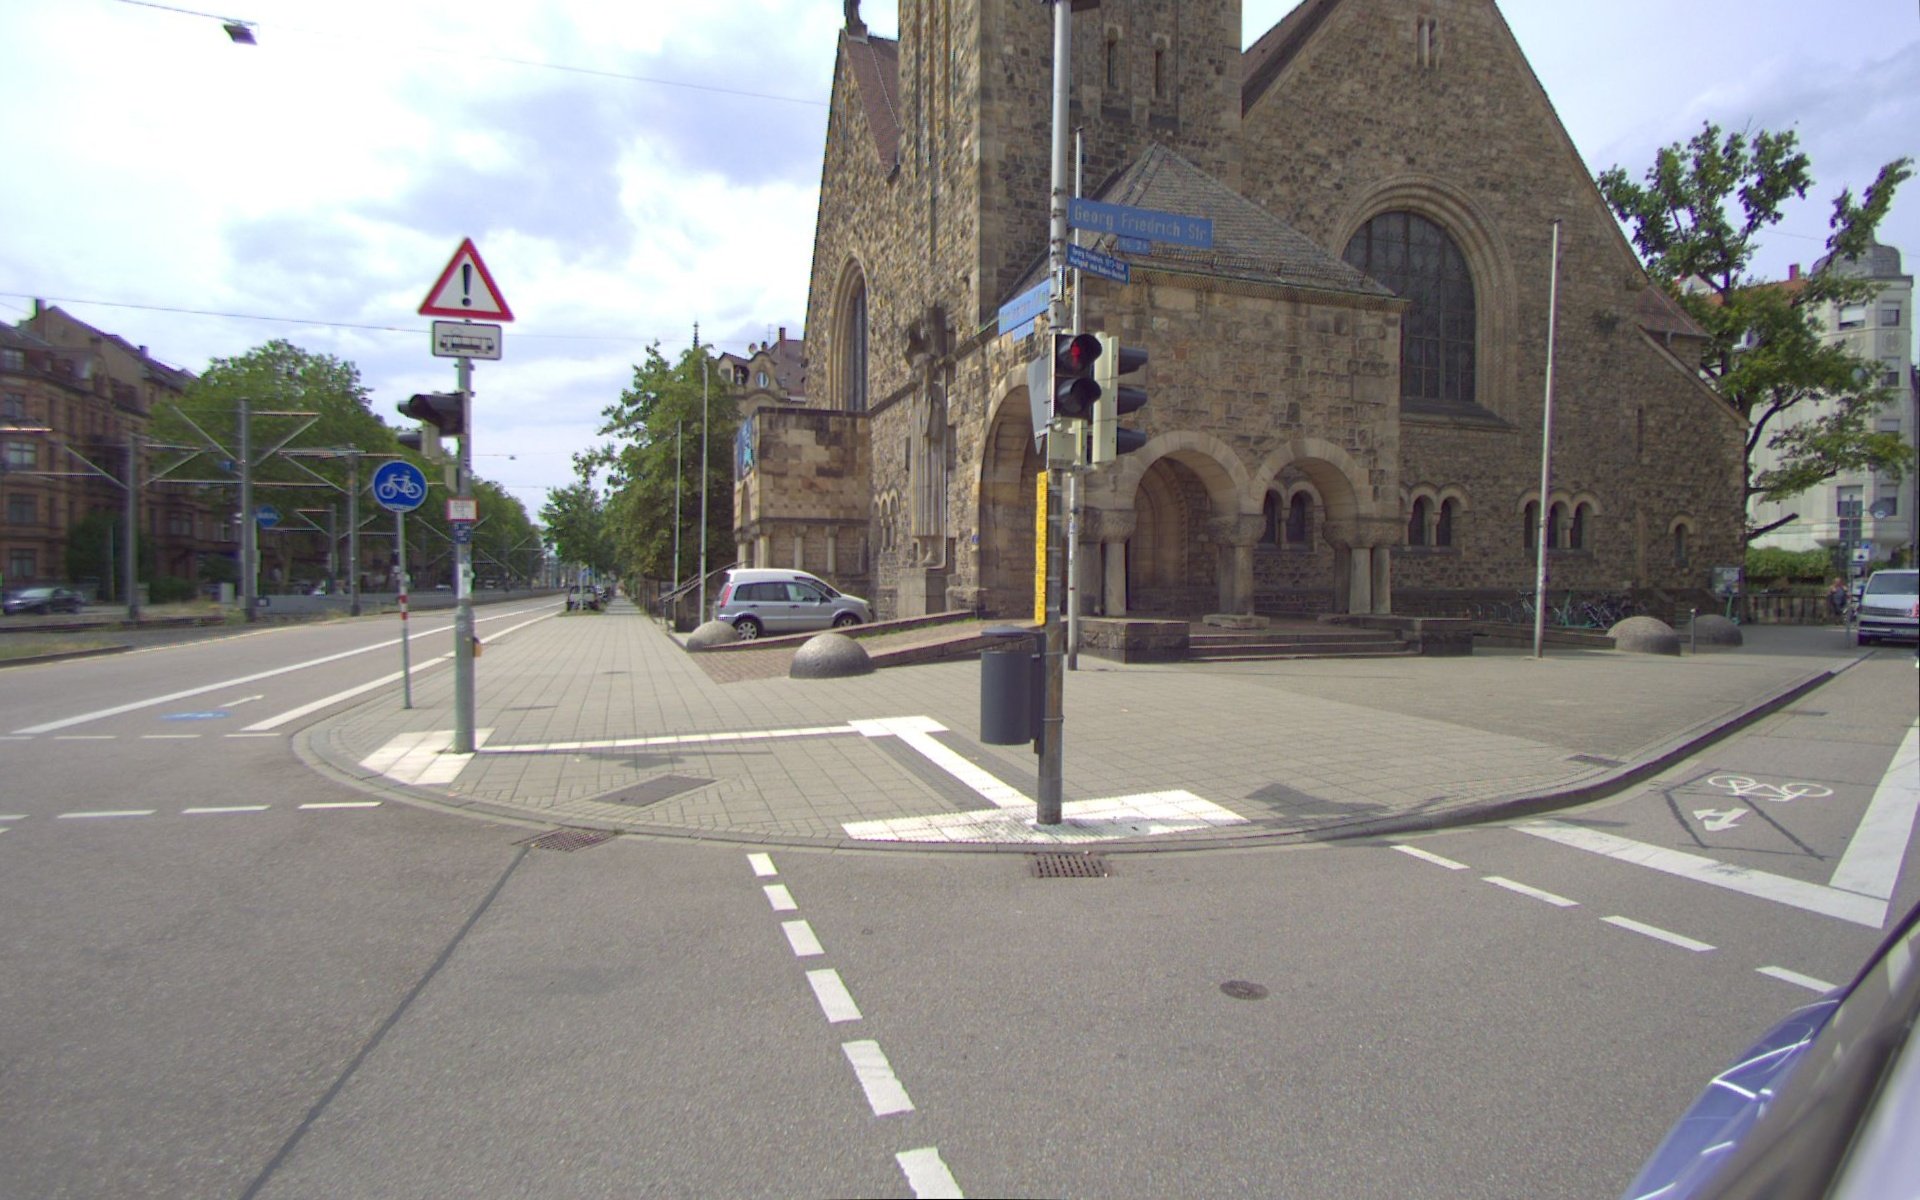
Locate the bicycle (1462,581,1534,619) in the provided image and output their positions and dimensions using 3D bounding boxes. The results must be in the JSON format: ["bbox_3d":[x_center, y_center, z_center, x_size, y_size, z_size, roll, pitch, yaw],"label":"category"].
[{"bbox_3d":[14.956,-0.012,28.162,0.534,0.969,1.786,0,3,-24],"label":"bicycle"}]

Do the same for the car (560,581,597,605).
[{"bbox_3d":[-24.178,-0.449,64.312,1.911,1.417,4.009,-2,1,-17],"label":"car"}]

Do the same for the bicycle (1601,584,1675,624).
[{"bbox_3d":[19.955,0.102,29.837,0.534,1.126,1.786,0,1,-24],"label":"bicycle"}]

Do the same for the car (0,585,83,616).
[{"bbox_3d":[-46.176,0.001,50.750,1.722,1.417,4.009,-2,1,-14],"label":"car"}]

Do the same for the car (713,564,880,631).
[{"bbox_3d":[-4.572,-0.094,28.133,4.328,1.747,1.956,0,1,-18],"label":"car"}]

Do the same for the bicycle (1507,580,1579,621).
[{"bbox_3d":[16.483,-0.010,28.639,0.534,1.126,1.786,0,1,-24],"label":"bicycle"}]

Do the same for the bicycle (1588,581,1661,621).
[{"bbox_3d":[19.380,0.019,29.564,0.534,1.126,1.778,0,1,-24],"label":"bicycle"}]

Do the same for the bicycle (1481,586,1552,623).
[{"bbox_3d":[15.580,0.108,28.384,0.534,0.969,1.786,0,1,-24],"label":"bicycle"}]

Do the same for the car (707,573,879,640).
[{"bbox_3d":[-4.170,0.115,25.121,3.942,1.562,2.024,0,1,-18],"label":"car"}]

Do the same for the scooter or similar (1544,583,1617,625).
[{"bbox_3d":[17.715,0.089,28.938,0.534,1.154,1.786,0,1,-24],"label":"scooter or similar"}]

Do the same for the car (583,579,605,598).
[{"bbox_3d":[-30.946,-0.985,85.647,1.488,1.426,3.732,0,3,-15],"label":"car"}]

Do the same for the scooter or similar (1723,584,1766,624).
[{"bbox_3d":[24.568,0.111,31.683,1.413,1.222,0.546,0,1,-30],"label":"scooter or similar"}]

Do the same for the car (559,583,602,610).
[{"bbox_3d":[-20.855,-0.227,55.723,1.911,1.417,4.009,-2,1,-17],"label":"car"}]

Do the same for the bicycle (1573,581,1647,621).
[{"bbox_3d":[18.820,0.016,29.337,0.534,1.126,1.786,0,1,-24],"label":"bicycle"}]

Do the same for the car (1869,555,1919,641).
[{"bbox_3d":[24.907,-0.066,25.970,5.040,2.054,2.016,-1,2,-45],"label":"car"}]
